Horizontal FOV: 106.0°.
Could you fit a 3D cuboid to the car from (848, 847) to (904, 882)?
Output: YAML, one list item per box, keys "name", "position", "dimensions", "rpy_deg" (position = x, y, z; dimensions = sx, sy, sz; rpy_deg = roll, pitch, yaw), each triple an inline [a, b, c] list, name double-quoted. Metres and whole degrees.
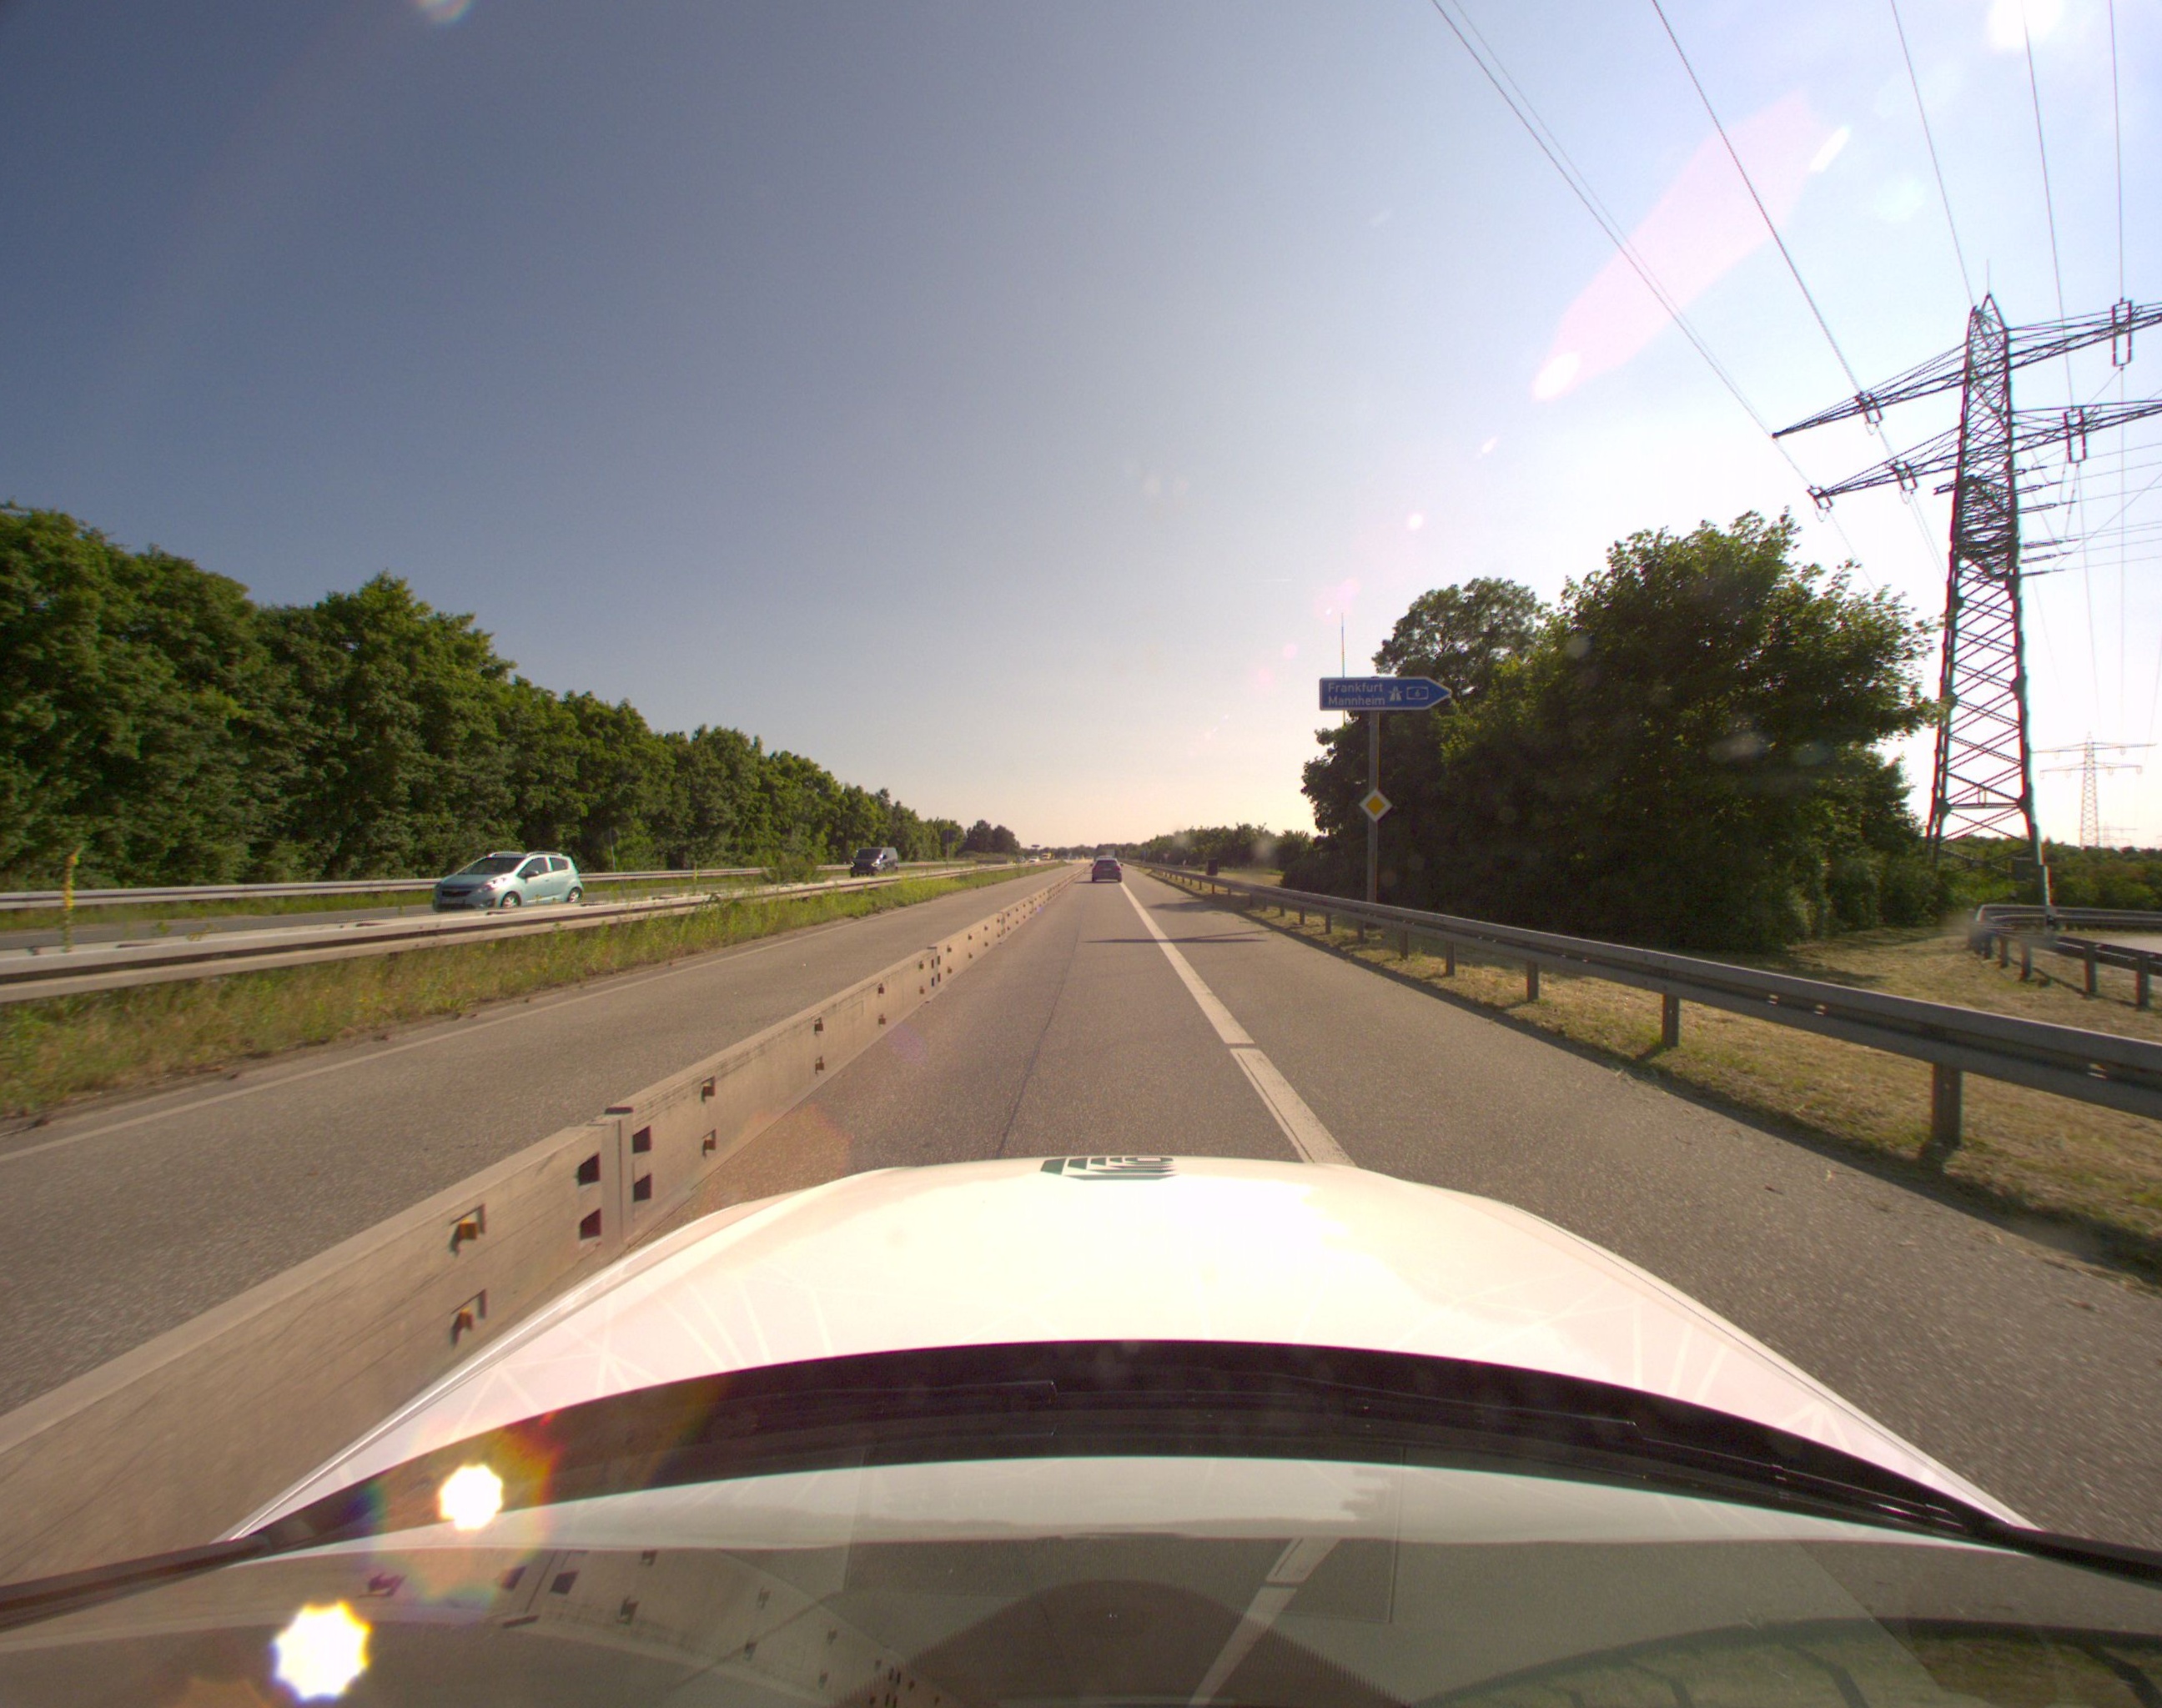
- name: "car"
  position: [-12.744, 0.607, 51.031]
  dimensions: [1.985, 2.034, 5.172]
  rpy_deg: [-1, 0, 3]

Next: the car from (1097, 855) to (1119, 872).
- name: "car"
  position: [2.578, 0.887, 77.565]
  dimensions: [1.986, 1.567, 4.002]
  rpy_deg: [-1, 0, 2]

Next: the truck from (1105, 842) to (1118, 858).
- name: "truck"
  position: [9.615, -1.274, 256.676]
  dimensions: [3.747, 4.911, 14.140]
  rpy_deg: [0, 0, 1]

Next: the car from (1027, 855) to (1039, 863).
- name: "car"
  position: [-8.790, 0.971, 149.948]
  dimensions: [1.754, 1.470, 4.795]
  rpy_deg: [1, 0, 1]

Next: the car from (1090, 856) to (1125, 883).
- name: "car"
  position: [1.550, 0.900, 48.958]
  dimensions: [1.914, 1.494, 4.000]
  rpy_deg: [-2, 0, 0]

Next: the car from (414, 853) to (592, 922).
- name: "car"
  position: [-14.277, 0.758, 20.407]
  dimensions: [1.641, 1.531, 3.819]
  rpy_deg: [-1, 0, 1]
